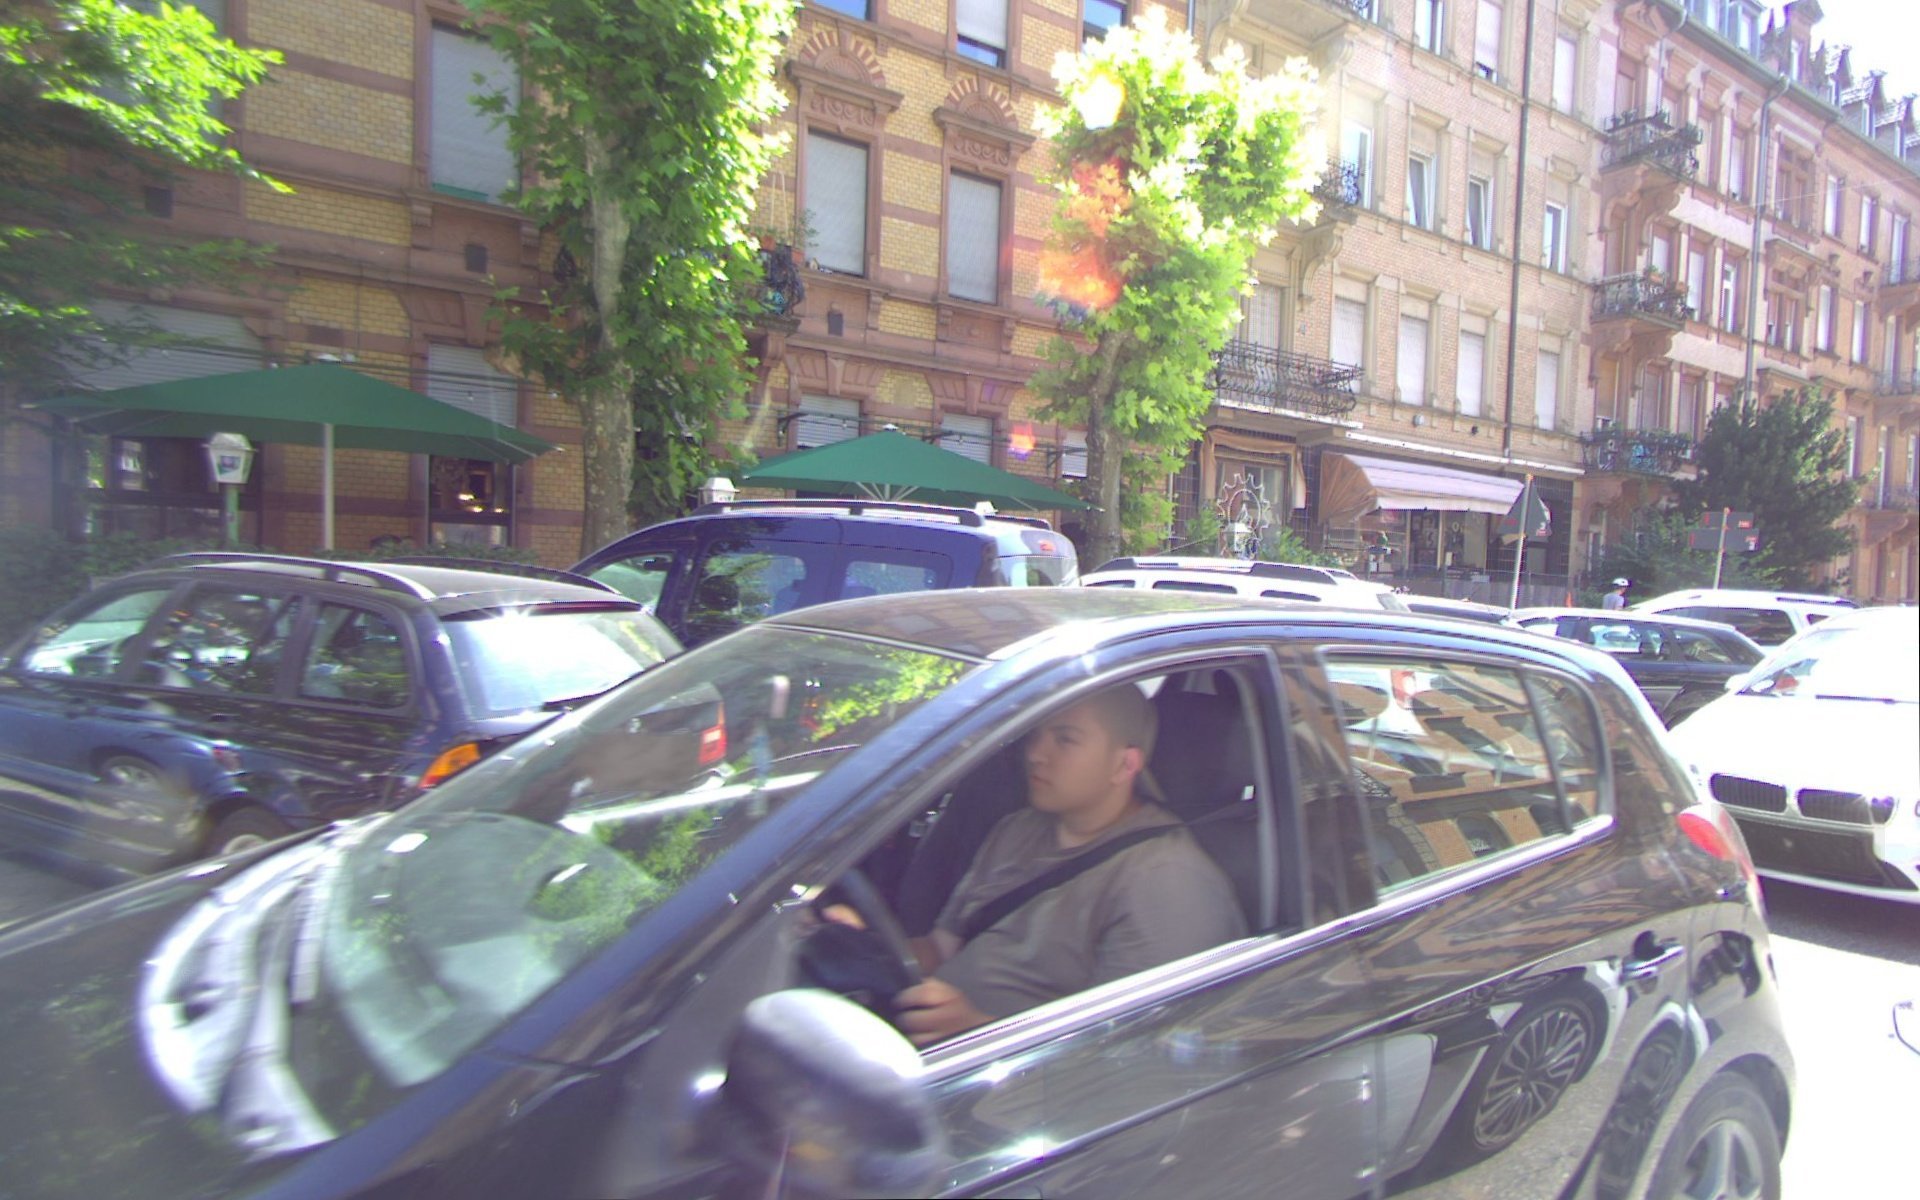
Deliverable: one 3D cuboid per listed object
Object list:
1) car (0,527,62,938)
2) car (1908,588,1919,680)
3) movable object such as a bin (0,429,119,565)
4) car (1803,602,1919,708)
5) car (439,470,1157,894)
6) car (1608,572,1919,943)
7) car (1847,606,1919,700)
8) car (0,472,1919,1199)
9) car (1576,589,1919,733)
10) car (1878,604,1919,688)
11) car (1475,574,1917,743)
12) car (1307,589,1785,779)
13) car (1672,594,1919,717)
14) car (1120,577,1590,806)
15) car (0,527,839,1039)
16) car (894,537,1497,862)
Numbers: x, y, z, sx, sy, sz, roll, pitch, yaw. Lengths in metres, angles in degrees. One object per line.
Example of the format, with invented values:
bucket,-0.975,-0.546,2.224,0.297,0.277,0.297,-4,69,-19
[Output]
car,-5.360,0.333,3.652,3.928,1.394,1.996,5,3,30
car,23.026,0.859,20.647,4.705,2.021,2.049,3,2,31
movable object such as a bin,-24.940,-2.582,24.320,3.250,3.255,6.749,3,2,3
car,16.487,0.952,16.481,3.859,1.641,1.859,3,2,37
car,-1.009,0.250,6.089,3.924,1.828,1.767,4,3,25
car,5.960,0.768,6.031,4.326,1.667,1.746,2,-1,-30
car,18.620,1.030,17.991,3.859,1.641,1.859,3,2,37
car,0.237,0.667,2.139,3.953,1.463,1.746,2,1,-30
car,11.180,0.757,14.337,3.859,1.641,1.859,3,2,37
car,20.690,1.001,19.572,3.859,1.641,1.859,3,2,37
car,8.552,0.596,12.140,3.845,1.641,1.866,3,2,20
car,5.609,0.716,10.243,3.845,1.490,1.866,3,2,19
car,13.666,0.827,15.851,3.859,1.641,1.859,3,2,37
car,3.445,0.643,8.987,3.567,1.477,1.621,5,3,31
car,-2.801,0.478,4.737,3.923,1.431,1.970,4,3,23
car,1.597,0.482,7.486,3.936,1.680,1.753,5,3,37
